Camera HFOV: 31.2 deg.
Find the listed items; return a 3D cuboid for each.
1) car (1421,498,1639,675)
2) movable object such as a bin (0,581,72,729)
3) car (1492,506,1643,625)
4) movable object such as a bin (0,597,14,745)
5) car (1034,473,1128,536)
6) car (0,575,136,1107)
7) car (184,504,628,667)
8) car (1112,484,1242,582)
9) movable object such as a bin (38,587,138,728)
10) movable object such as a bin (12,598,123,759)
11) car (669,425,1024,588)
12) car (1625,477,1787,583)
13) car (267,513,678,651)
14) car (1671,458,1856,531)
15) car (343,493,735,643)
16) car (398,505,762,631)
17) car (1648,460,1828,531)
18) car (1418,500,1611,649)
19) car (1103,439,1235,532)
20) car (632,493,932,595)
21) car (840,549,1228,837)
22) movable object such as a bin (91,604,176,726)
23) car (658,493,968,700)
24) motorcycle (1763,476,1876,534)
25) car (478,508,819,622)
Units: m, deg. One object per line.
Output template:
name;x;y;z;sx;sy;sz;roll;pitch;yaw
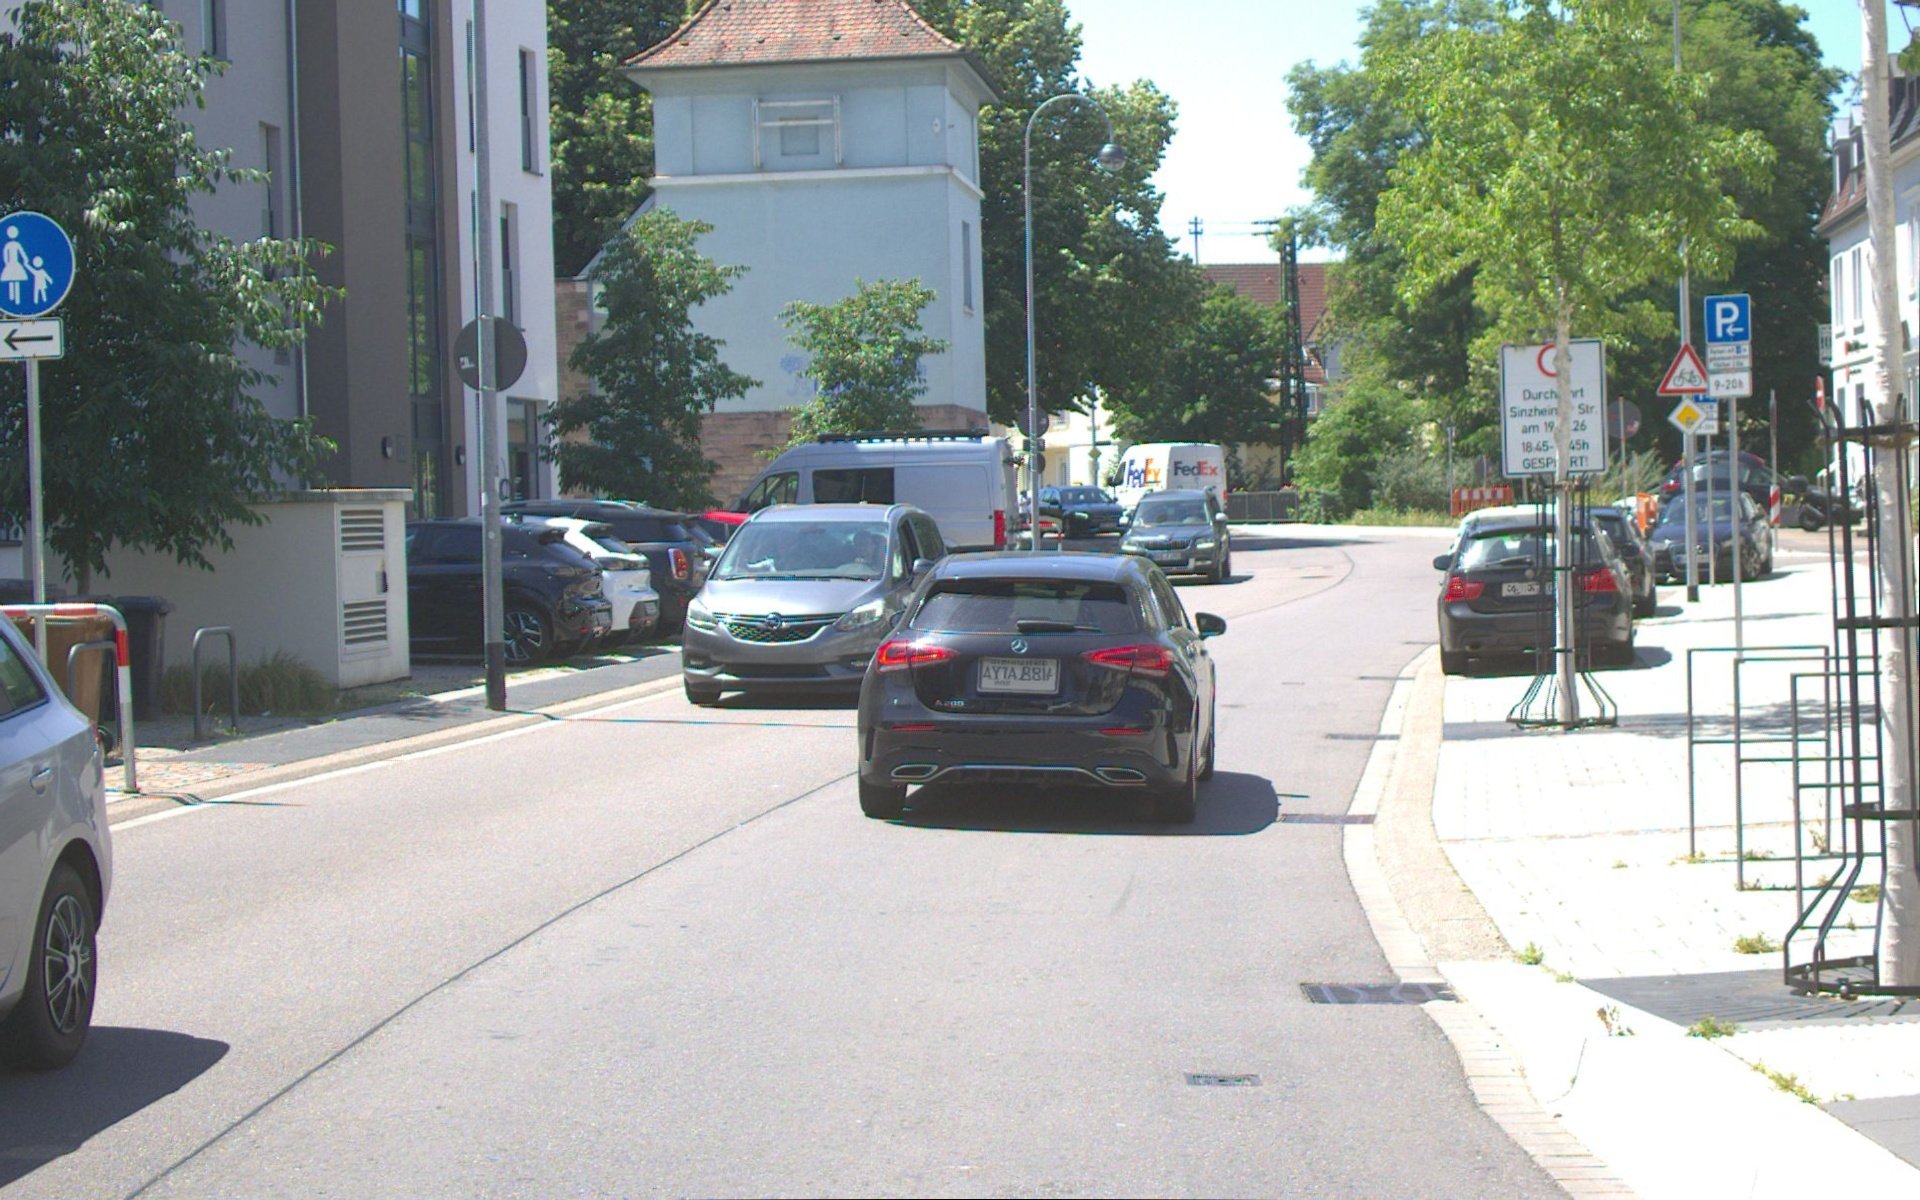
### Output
car;5.401;-0.154;32.620;1.833;1.477;4.094;-3;0;9
movable object such as a bin;-6.648;0.384;24.288;0.554;1.016;0.560;-1;1;4
car;8.003;-0.482;45.002;1.725;1.400;4.607;-2;1;12
movable object such as a bin;-6.815;0.491;23.546;0.554;0.994;0.404;-2;1;-5
car;3.361;-2.698;96.367;1.893;1.548;4.800;-2;3;-6
car;-3.411;0.661;8.435;1.667;1.391;3.847;0;1;3
car;-5.525;-0.175;34.582;3.988;1.510;2.000;0;3;8
car;3.941;-1.214;61.858;1.811;1.695;4.074;0;1;11
movable object such as a bin;-6.293;0.412;24.826;0.554;0.994;0.427;-1;1;10
movable object such as a bin;-5.688;0.495;21.929;0.483;0.994;0.588;-1;1;7
car;-1.919;-1.607;59.123;5.769;2.723;2.291;0;2;9
car;12.117;-1.157;55.678;1.874;1.486;3.858;-2;3;22
car;-5.195;-0.217;36.913;3.988;1.416;1.909;0;2;9
car;18.943;-2.486;81.173;4.076;1.710;1.856;0;2;7
car;-4.779;-0.393;39.339;4.034;1.645;1.999;0;2;11
car;-4.630;-0.420;42.189;4.034;1.491;1.999;0;2;11
car;18.805;-2.528;83.216;4.076;1.710;1.856;0;2;7
car;6.270;-0.325;38.561;1.738;1.481;4.052;-3;1;14
car;5.998;-3.277;99.453;2.127;2.620;5.279;-1;1;-16
car;-2.795;-0.905;54.603;4.455;1.585;1.999;0;2;8
car;0.523;0.444;19.449;1.828;1.437;3.999;1;1;6
movable object such as a bin;-6.093;0.473;25.362;0.554;0.865;0.482;-1;1;-9
car;-1.176;-0.070;29.609;1.943;1.652;4.234;0;1;8
motorcycle;19.329;-2.139;77.329;2.377;1.271;0.856;0;2;8
car;-4.019;-0.475;44.737;4.034;1.425;1.999;0;2;11
